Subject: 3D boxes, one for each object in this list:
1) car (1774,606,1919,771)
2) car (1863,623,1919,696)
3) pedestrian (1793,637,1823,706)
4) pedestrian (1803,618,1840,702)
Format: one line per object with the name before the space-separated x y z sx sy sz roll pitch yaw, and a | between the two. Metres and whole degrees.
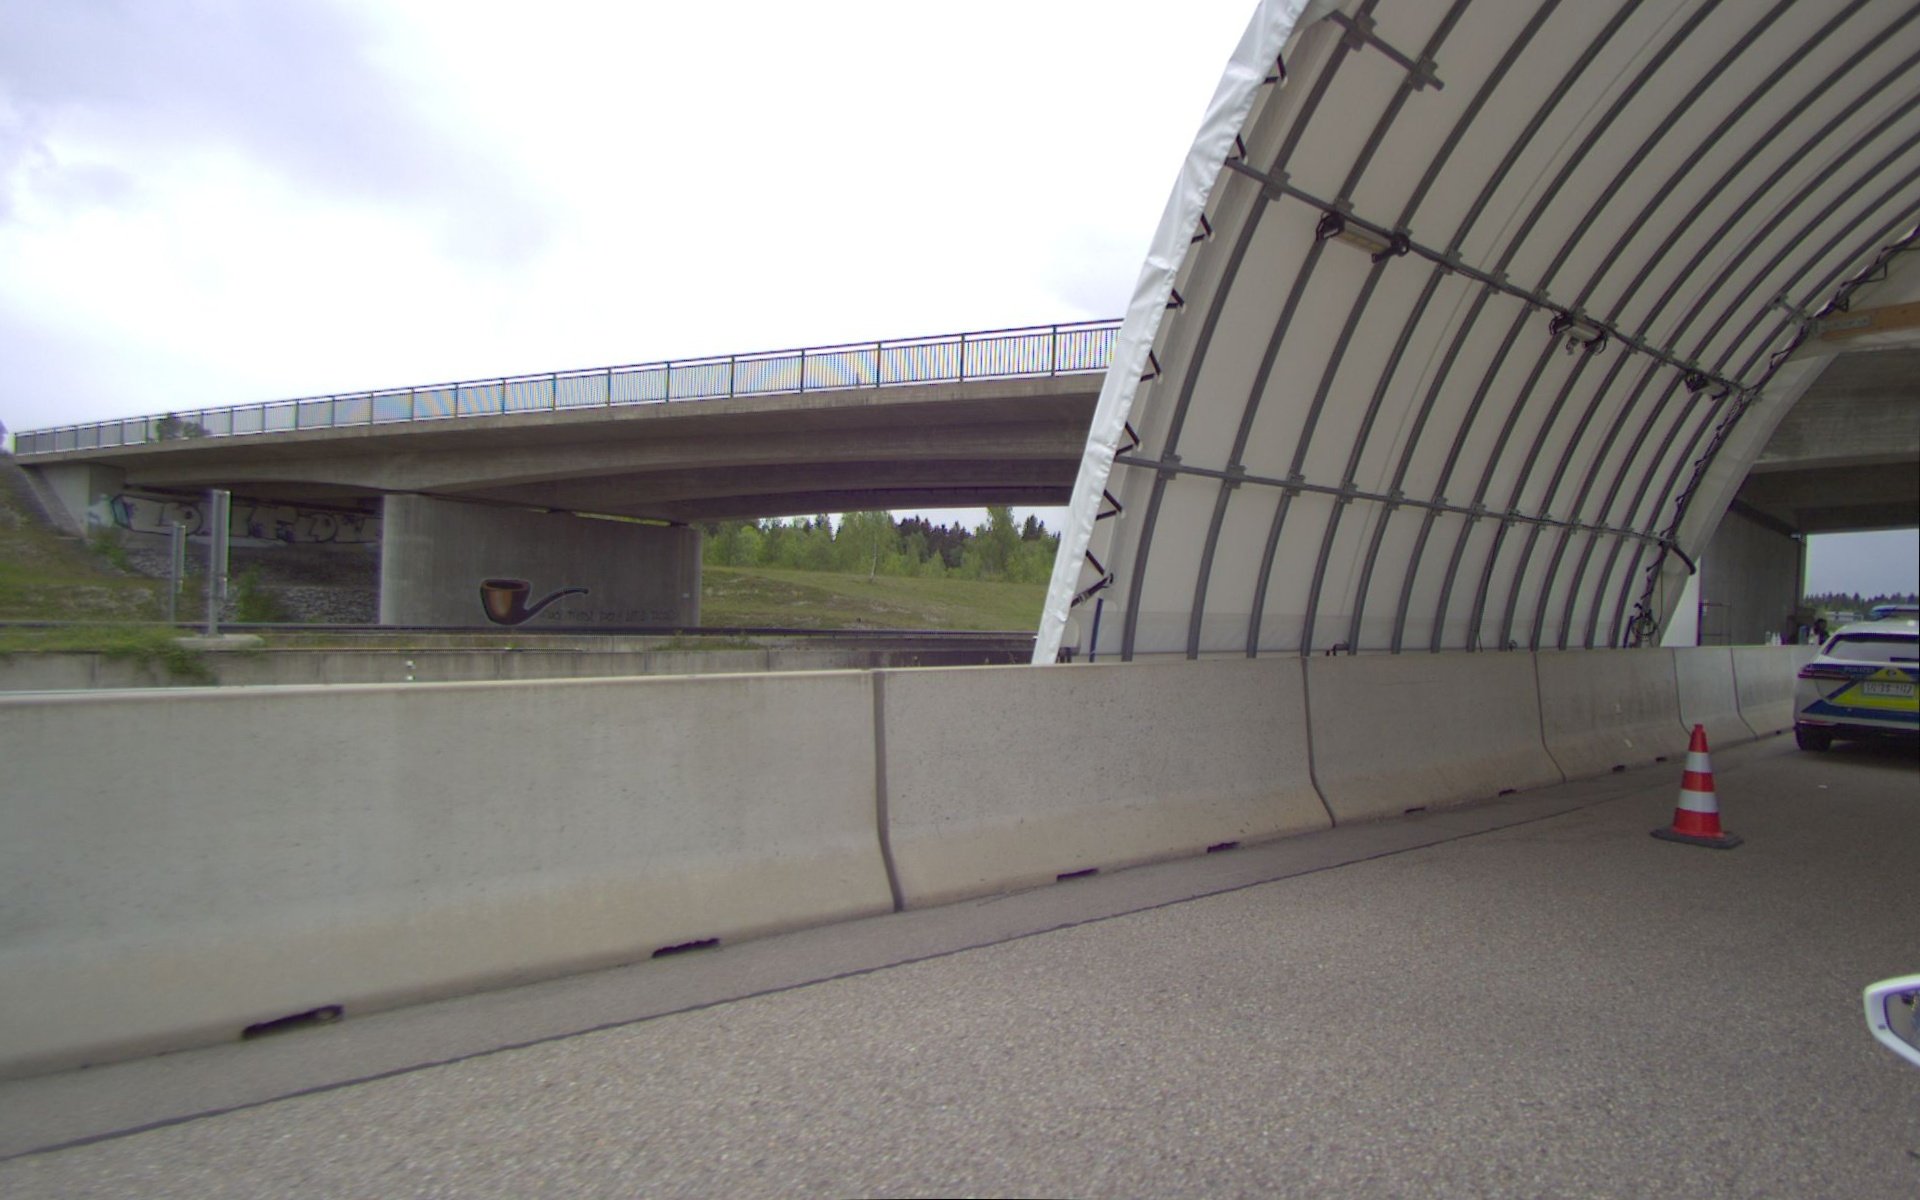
car | 11.100 0.961 11.632 3.966 1.668 1.863 2 -2 -39
car | 28.185 1.684 27.589 1.811 2.040 4.805 1 -1 -17
pedestrian | 19.947 1.671 23.623 0.460 1.567 0.497 2 -1 -44
pedestrian | 21.311 1.461 24.844 0.651 2.040 0.619 2 -1 -40
